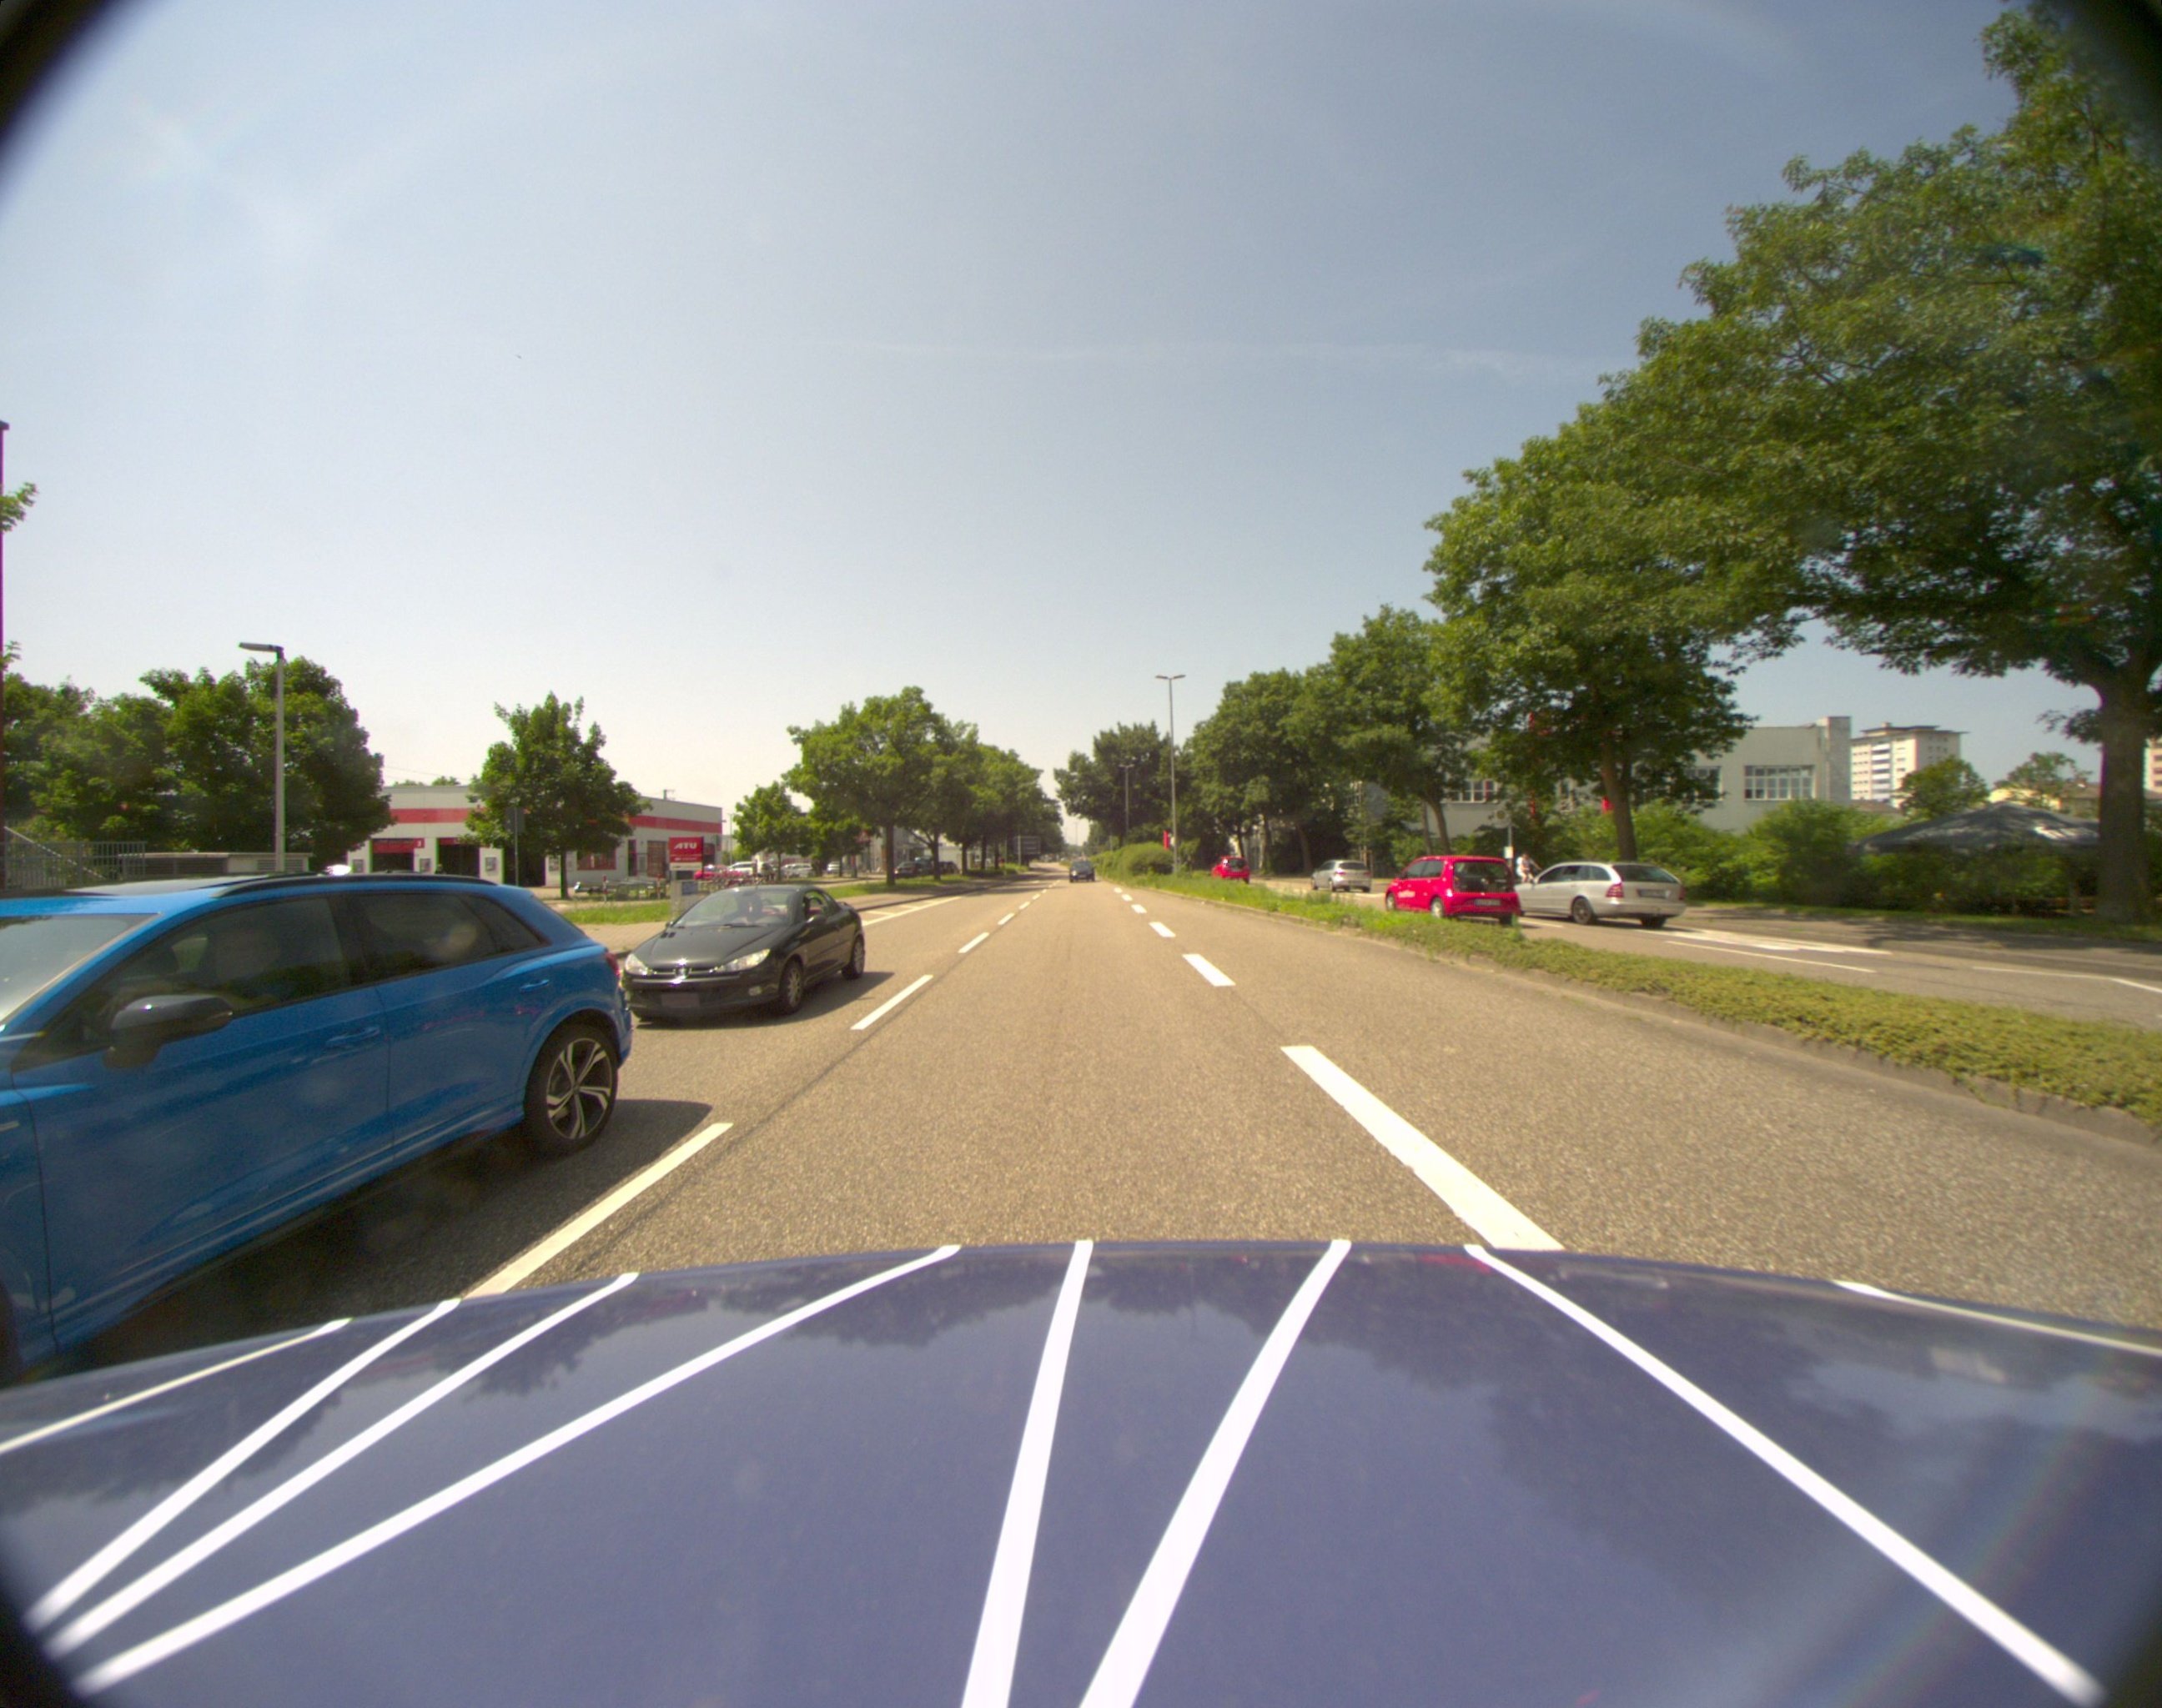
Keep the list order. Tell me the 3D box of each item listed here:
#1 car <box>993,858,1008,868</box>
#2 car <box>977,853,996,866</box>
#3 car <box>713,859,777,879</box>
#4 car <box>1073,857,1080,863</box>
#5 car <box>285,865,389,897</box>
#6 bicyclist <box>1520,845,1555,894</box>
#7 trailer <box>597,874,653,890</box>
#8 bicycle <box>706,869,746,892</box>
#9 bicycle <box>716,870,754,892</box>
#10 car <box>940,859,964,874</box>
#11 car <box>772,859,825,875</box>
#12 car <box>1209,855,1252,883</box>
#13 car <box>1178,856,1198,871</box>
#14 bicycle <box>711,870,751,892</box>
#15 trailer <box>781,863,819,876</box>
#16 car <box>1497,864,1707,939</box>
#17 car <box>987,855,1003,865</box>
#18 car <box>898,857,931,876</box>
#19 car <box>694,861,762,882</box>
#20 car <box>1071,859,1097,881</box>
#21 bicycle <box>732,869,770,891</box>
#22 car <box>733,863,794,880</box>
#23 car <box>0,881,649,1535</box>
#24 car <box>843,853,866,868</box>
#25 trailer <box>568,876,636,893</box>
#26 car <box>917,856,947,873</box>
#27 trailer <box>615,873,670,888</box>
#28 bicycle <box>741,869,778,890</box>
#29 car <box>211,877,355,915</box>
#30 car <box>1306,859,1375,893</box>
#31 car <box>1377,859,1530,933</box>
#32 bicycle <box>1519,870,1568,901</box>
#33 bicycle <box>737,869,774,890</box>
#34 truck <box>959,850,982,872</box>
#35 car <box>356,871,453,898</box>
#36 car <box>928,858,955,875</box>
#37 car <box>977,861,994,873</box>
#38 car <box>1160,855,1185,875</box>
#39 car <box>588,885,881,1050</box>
[{"bbox_3d":[-12.155,1.381,114.830,1.719,1.458,4.000,-1,0,1],"label":"car"},{"bbox_3d":[-11.707,0.678,94.535,1.719,1.458,4.000,-1,0,1],"label":"car"},{"bbox_3d":[-25.030,1.104,56.688,3.998,1.394,1.747,-1,0,-3],"label":"car"},{"bbox_3d":[-1.454,1.727,231.987,1.998,1.692,4.000,-1,0,0],"label":"car"},{"bbox_3d":[-41.664,1.477,42.689,1.717,1.653,4.145,-1,0,0],"label":"car"},{"bbox_3d":[15.203,0.511,25.327,0.609,1.621,0.923,0,1,1],"label":"bicyclist"},{"bbox_3d":[-23.802,1.476,39.699,2.137,0.757,1.267,-1,0,2],"label":"trailer"},{"bbox_3d":[-18.227,1.367,39.007,1.784,1.117,0.514,-1,0,-6],"label":"bicycle"},{"bbox_3d":[-18.333,1.412,40.271,1.784,1.117,0.514,-1,0,-6],"label":"bicycle"},{"bbox_3d":[-13.006,1.241,76.911,1.719,1.504,4.000,-1,0,1],"label":"car"},{"bbox_3d":[-24.641,1.131,66.312,3.998,1.293,1.689,-1,0,-3],"label":"car"},{"bbox_3d":[8.942,0.847,45.765,1.753,1.560,4.153,2,0,0],"label":"car"},{"bbox_3d":[12.456,1.118,88.950,1.720,1.594,4.213,2,0,0],"label":"car"},{"bbox_3d":[-18.231,1.408,39.606,1.784,1.117,0.514,-1,0,-6],"label":"bicycle"},{"bbox_3d":[-23.700,1.277,64.210,2.642,1.046,1.578,-1,0,-2],"label":"trailer"},{"bbox_3d":[11.757,0.990,17.573,1.782,1.396,4.359,2,0,0],"label":"car"},{"bbox_3d":[-12.355,0.848,109.120,1.719,1.458,4.000,-1,0,1],"label":"car"},{"bbox_3d":[-13.003,0.958,59.538,1.642,1.363,4.000,-1,0,1],"label":"car"},{"bbox_3d":[-25.245,1.259,54.397,3.998,1.394,1.747,-1,0,-2],"label":"car"},{"bbox_3d":[0.171,1.024,51.105,1.642,1.395,4.000,-1,0,0],"label":"car"},{"bbox_3d":[-17.802,1.395,41.042,1.784,1.117,0.514,-1,0,-6],"label":"bicycle"},{"bbox_3d":[-24.630,1.352,59.107,3.998,1.201,1.747,-1,0,-3],"label":"car"},{"bbox_3d":[-3.727,0.988,2.684,1.842,1.586,4.400,-1,0,0],"label":"car"},{"bbox_3d":[-25.290,0.714,85.036,1.759,1.586,3.998,-1,0,-6],"label":"car"},{"bbox_3d":[-23.849,1.502,37.864,2.467,0.757,1.449,-1,0,2],"label":"trailer"},{"bbox_3d":[-12.852,0.889,65.607,1.719,1.458,4.000,-1,0,1],"label":"car"},{"bbox_3d":[-23.906,1.459,41.466,2.137,0.757,1.394,-1,0,2],"label":"trailer"},{"bbox_3d":[-17.931,1.415,42.364,1.784,1.117,0.514,-1,0,-6],"label":"bicycle"},{"bbox_3d":[-32.332,1.654,30.977,1.653,1.305,3.973,-1,0,0],"label":"car"},{"bbox_3d":[11.933,0.964,35.178,1.753,1.442,4.133,2,0,0],"label":"car"},{"bbox_3d":[8.137,0.852,16.972,1.584,1.432,3.608,1,0,-1],"label":"car"},{"bbox_3d":[15.189,1.013,24.997,0.619,0.963,1.660,0,0,1],"label":"bicycle"},{"bbox_3d":[-17.872,1.397,41.739,1.784,1.117,0.514,-1,0,-6],"label":"bicycle"},{"bbox_3d":[-12.901,0.822,88.641,1.904,2.552,4.001,-1,0,2],"label":"truck"},{"bbox_3d":[-37.804,1.667,42.601,1.717,1.364,4.145,-1,0,0],"label":"car"},{"bbox_3d":[-12.961,1.120,70.895,1.719,1.511,4.000,-1,0,1],"label":"car"},{"bbox_3d":[-12.678,1.689,101.165,1.719,1.458,4.000,-1,0,1],"label":"car"},{"bbox_3d":[8.959,1.043,74.573,1.856,1.894,4.425,2,0,0],"label":"car"},{"bbox_3d":[-3.793,1.155,9.171,1.642,1.336,4.000,-3,0,0],"label":"car"}]
